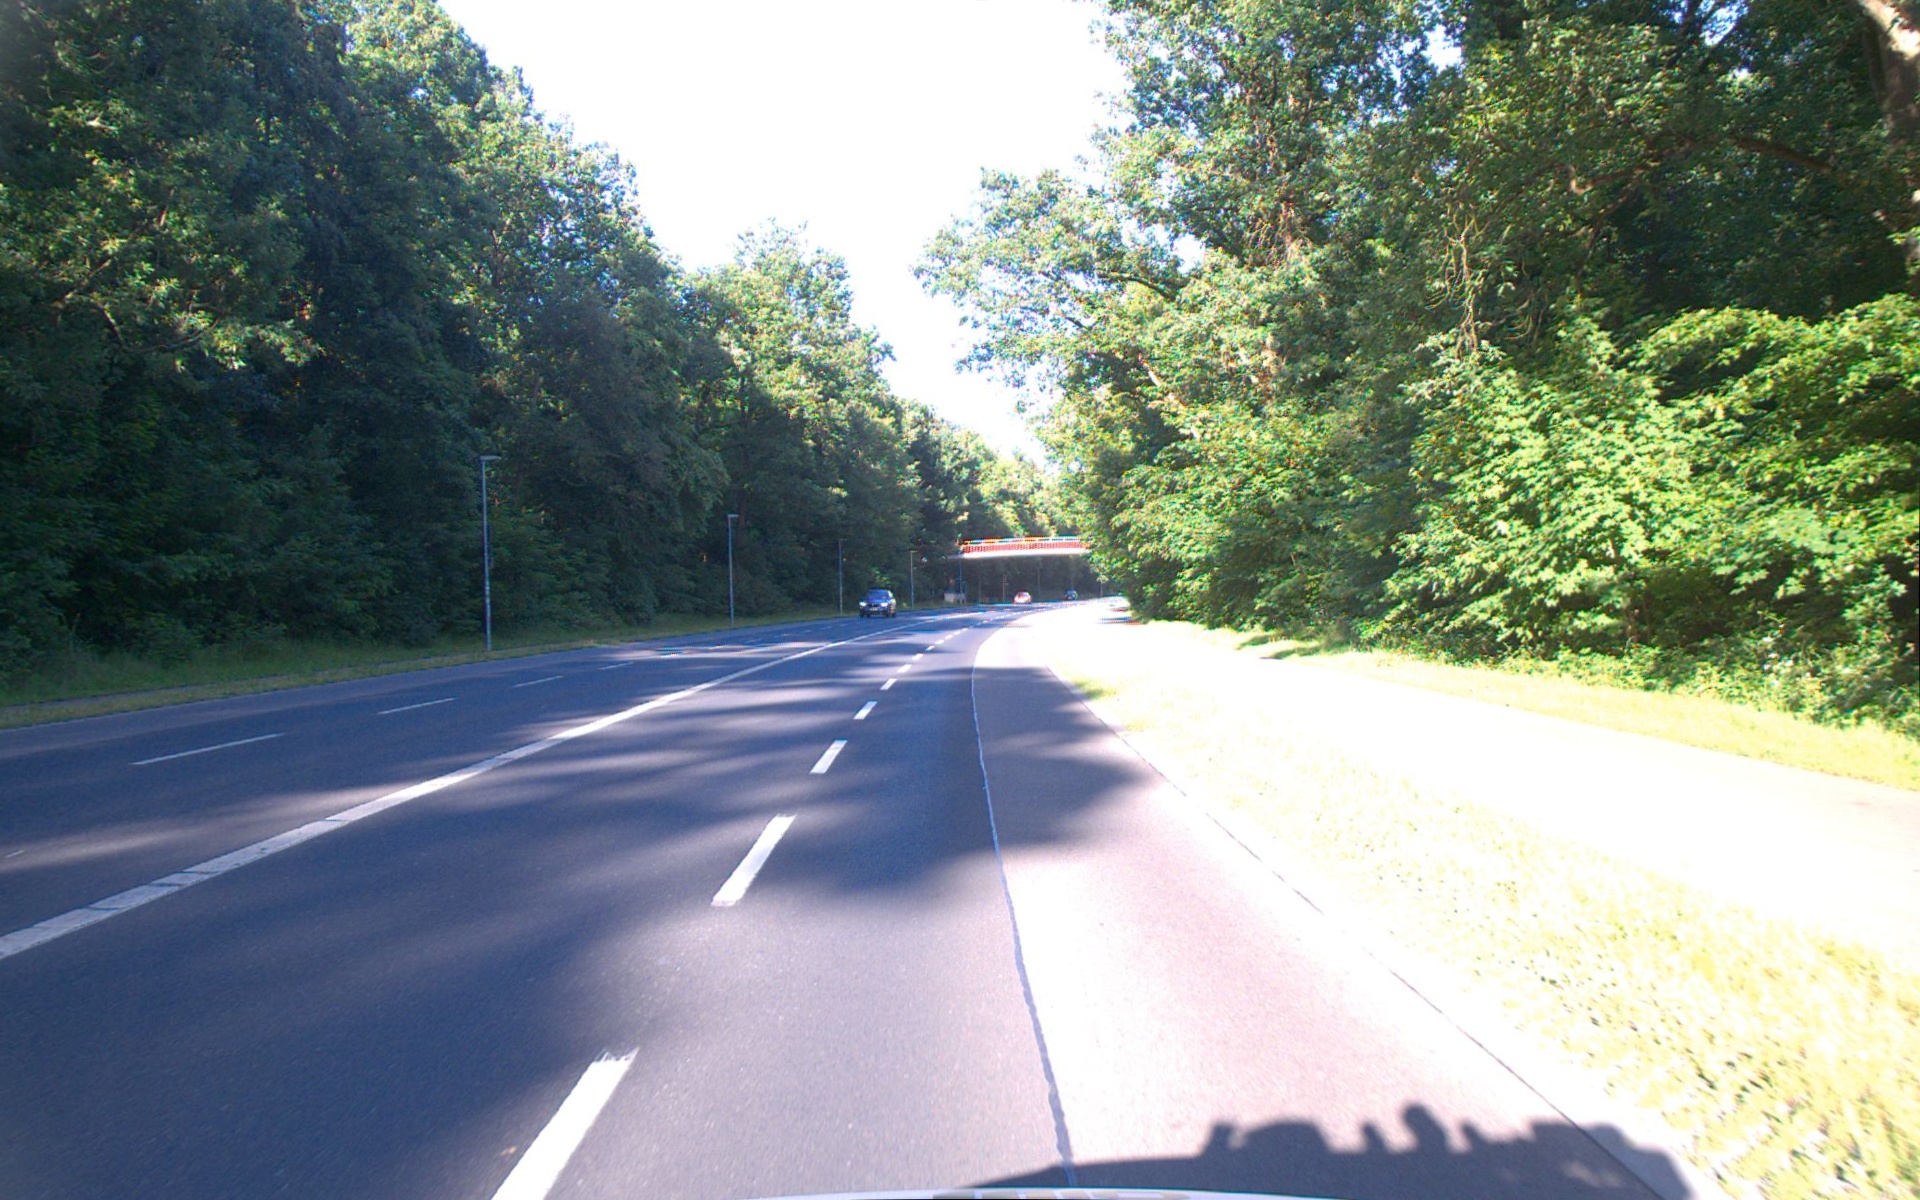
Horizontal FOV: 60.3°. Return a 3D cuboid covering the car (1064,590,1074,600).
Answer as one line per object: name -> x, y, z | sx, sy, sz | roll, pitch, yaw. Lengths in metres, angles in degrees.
car -> 16.444, -0.726, 250.233 | 1.464, 1.469, 3.502 | 0, 0, 4

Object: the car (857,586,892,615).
car -> -5.100, 0.003, 99.093 | 1.770, 1.692, 4.522 | 0, 0, 0

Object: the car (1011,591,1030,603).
car -> 7.454, -0.378, 203.249 | 1.673, 1.448, 4.134 | 0, 0, 12
